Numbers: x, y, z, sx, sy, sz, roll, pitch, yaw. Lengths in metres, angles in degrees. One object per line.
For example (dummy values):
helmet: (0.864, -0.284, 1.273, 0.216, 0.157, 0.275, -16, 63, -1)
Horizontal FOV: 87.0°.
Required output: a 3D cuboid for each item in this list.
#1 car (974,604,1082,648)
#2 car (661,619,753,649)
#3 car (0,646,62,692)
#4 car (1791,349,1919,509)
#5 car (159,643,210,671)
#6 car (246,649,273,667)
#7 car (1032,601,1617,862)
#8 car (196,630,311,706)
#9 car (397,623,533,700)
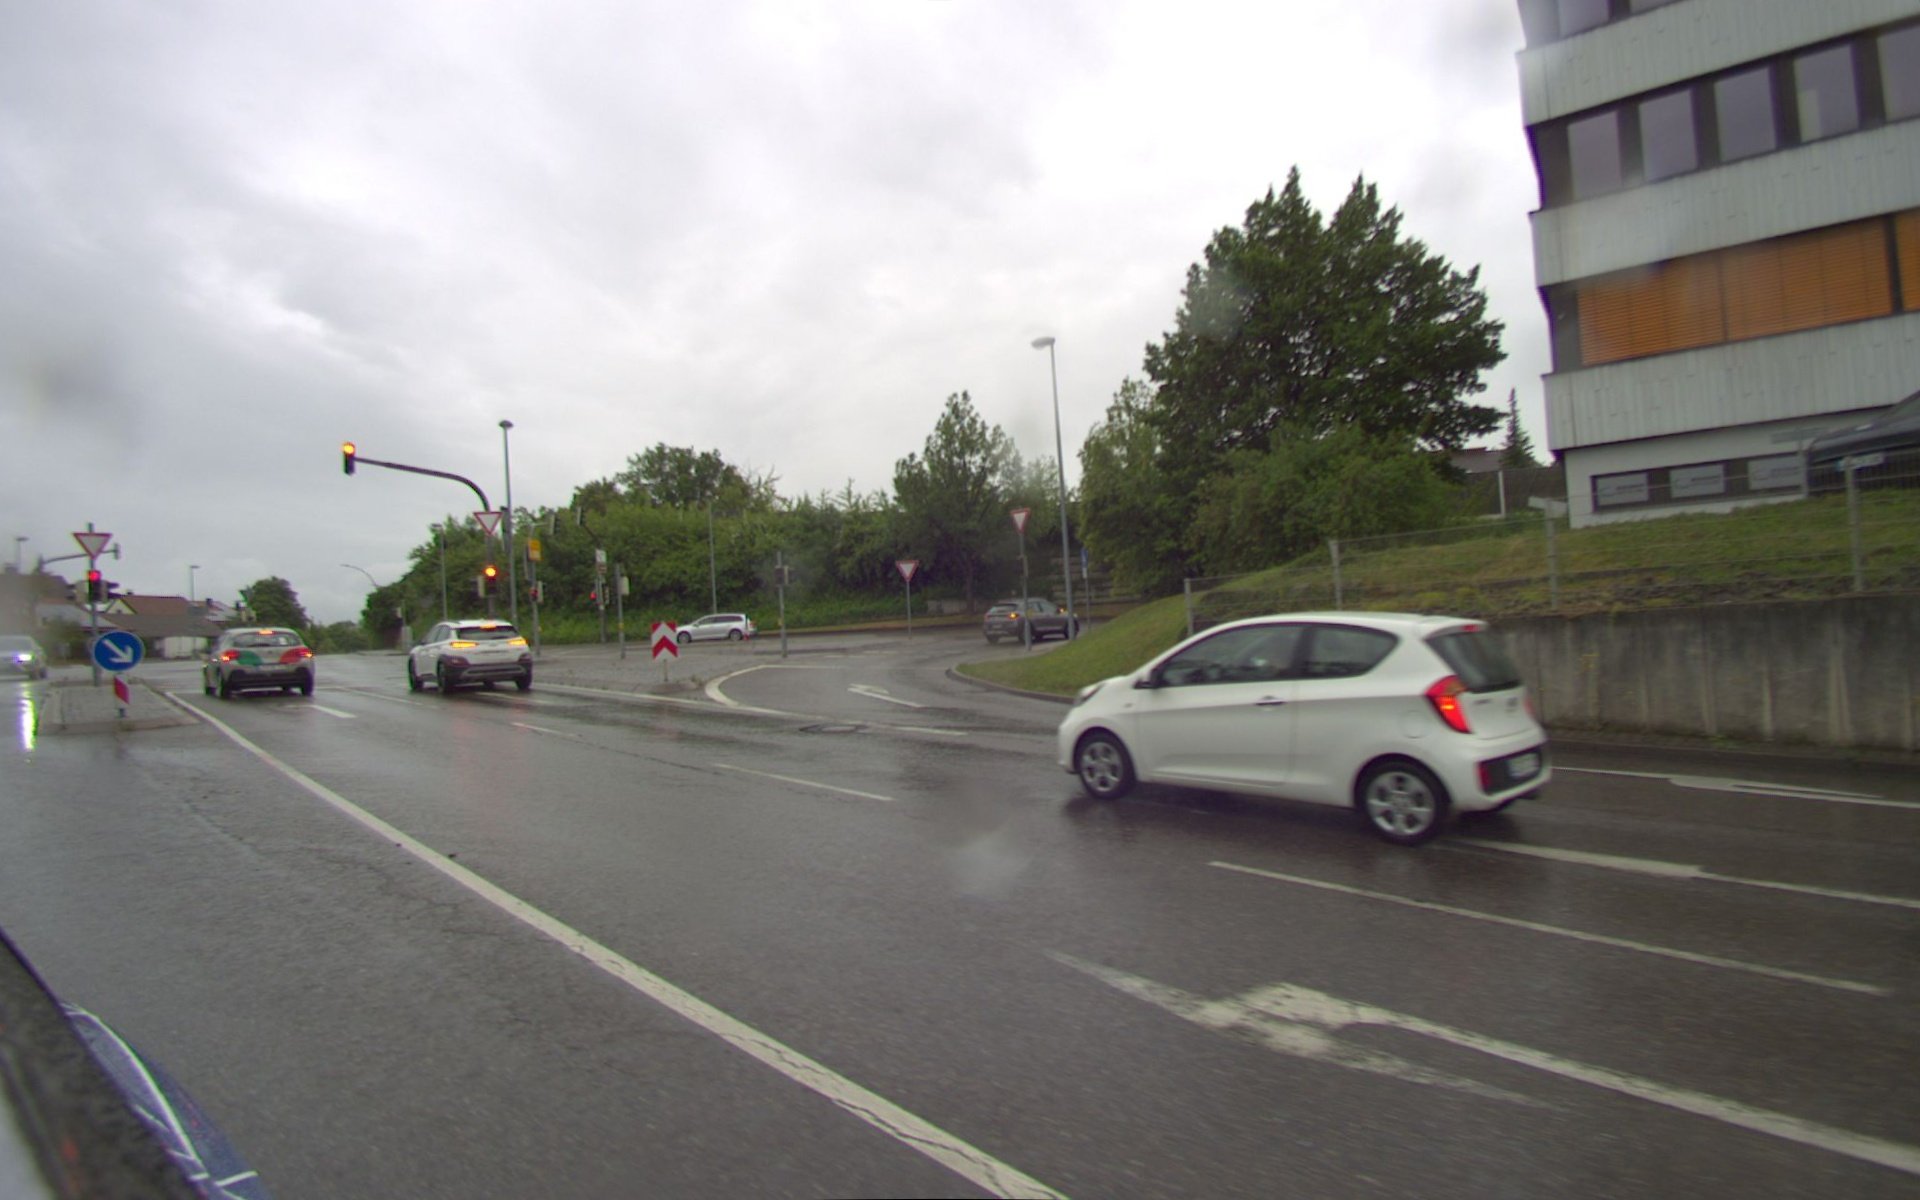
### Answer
car: (2.460, 0.917, 36.047, 1.903, 1.467, 3.946, 0, -1, 40)
car: (-13.096, 1.744, 52.583, 4.461, 1.373, 1.765, -2, -1, -7)
car: (-33.164, 2.422, 35.268, 1.867, 1.494, 4.012, -2, -2, -28)
car: (12.041, -1.963, 11.608, 3.933, 1.598, 1.908, -3, 1, -15)
car: (-72.118, 5.313, 94.181, 1.632, 2.368, 3.998, -3, -1, 1)
car: (-64.067, 5.283, 92.591, 1.729, 1.568, 3.931, -2, -1, -30)
car: (2.515, 0.815, 7.660, 1.633, 1.440, 3.796, -1, -1, -43)
car: (-15.747, 1.444, 22.489, 1.641, 1.506, 4.005, 0, -2, -42)
car: (-11.153, 1.326, 22.659, 1.699, 1.506, 4.005, -2, -1, -42)
